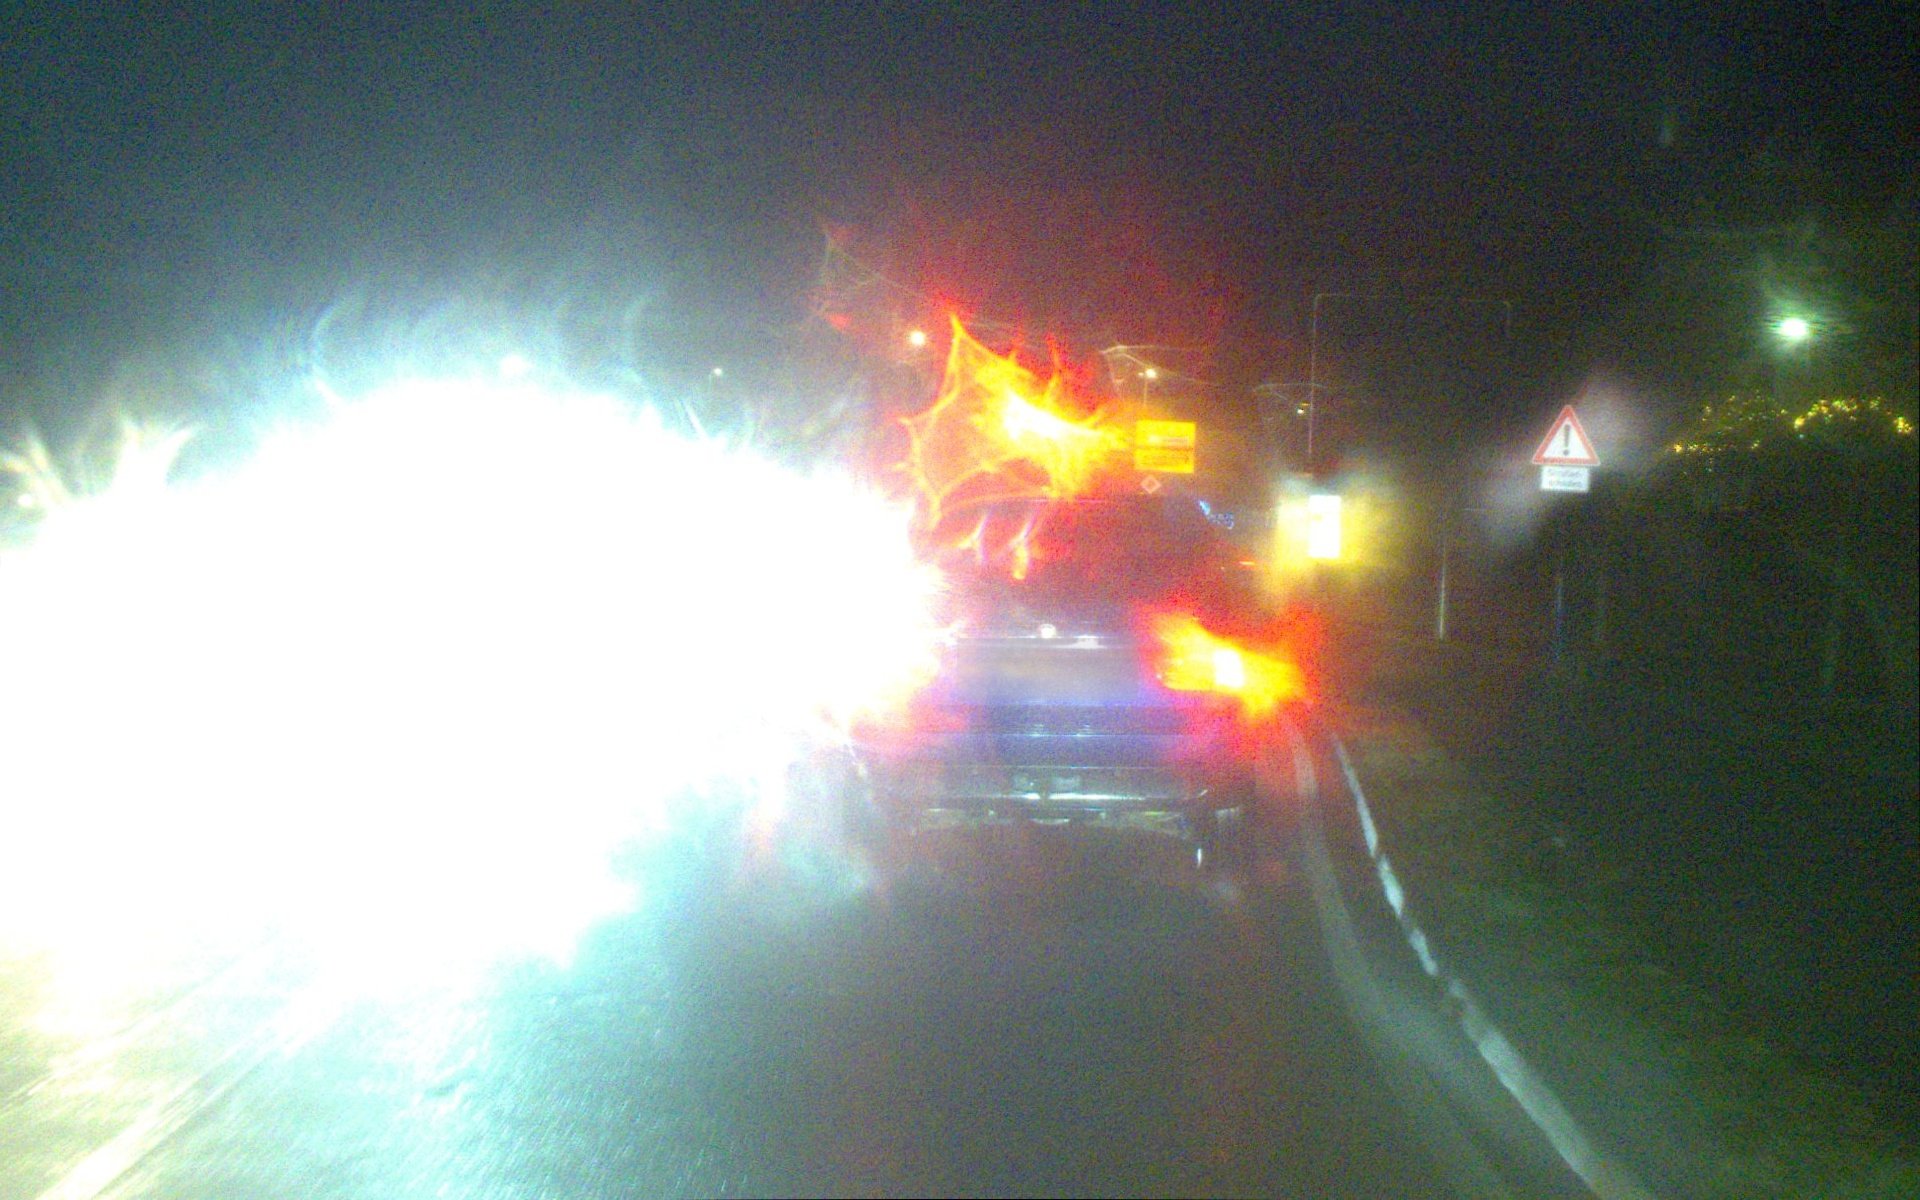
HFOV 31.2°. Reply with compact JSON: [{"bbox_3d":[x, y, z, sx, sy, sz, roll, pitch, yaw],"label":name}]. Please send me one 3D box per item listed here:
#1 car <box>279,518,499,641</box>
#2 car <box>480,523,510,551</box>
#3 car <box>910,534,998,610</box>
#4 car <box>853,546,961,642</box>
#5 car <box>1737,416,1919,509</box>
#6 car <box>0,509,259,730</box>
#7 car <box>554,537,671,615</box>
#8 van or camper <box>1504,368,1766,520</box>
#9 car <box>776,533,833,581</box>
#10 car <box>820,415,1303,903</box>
[{"bbox_3d":[-7.269,-0.301,44.241,2.077,1.444,4.992,1,1,-1],"label":"car"},{"bbox_3d":[-32.318,-4.362,238.990,1.993,1.905,4.744,1,1,-7],"label":"car"},{"bbox_3d":[-0.111,-0.646,76.958,1.709,1.632,3.730,0,1,4],"label":"car"},{"bbox_3d":[-0.923,-0.116,61.814,1.694,1.624,3.852,2,1,2],"label":"car"},{"bbox_3d":[15.958,-2.492,62.954,1.635,1.612,4.136,1,1,-14],"label":"car"},{"bbox_3d":[-6.668,0.087,26.130,1.878,1.532,3.988,1,1,-1],"label":"car"},{"bbox_3d":[-6.836,-0.502,67.950,1.918,1.439,4.546,1,1,-1],"label":"car"},{"bbox_3d":[13.605,-3.082,69.793,2.579,2.898,6.361,0,1,-16],"label":"van or camper"},{"bbox_3d":[-4.883,-1.371,108.523,1.694,1.429,4.294,2,1,-2],"label":"car"},{"bbox_3d":[0.468,0.193,16.191,1.942,1.965,4.218,1,1,1],"label":"car"}]
